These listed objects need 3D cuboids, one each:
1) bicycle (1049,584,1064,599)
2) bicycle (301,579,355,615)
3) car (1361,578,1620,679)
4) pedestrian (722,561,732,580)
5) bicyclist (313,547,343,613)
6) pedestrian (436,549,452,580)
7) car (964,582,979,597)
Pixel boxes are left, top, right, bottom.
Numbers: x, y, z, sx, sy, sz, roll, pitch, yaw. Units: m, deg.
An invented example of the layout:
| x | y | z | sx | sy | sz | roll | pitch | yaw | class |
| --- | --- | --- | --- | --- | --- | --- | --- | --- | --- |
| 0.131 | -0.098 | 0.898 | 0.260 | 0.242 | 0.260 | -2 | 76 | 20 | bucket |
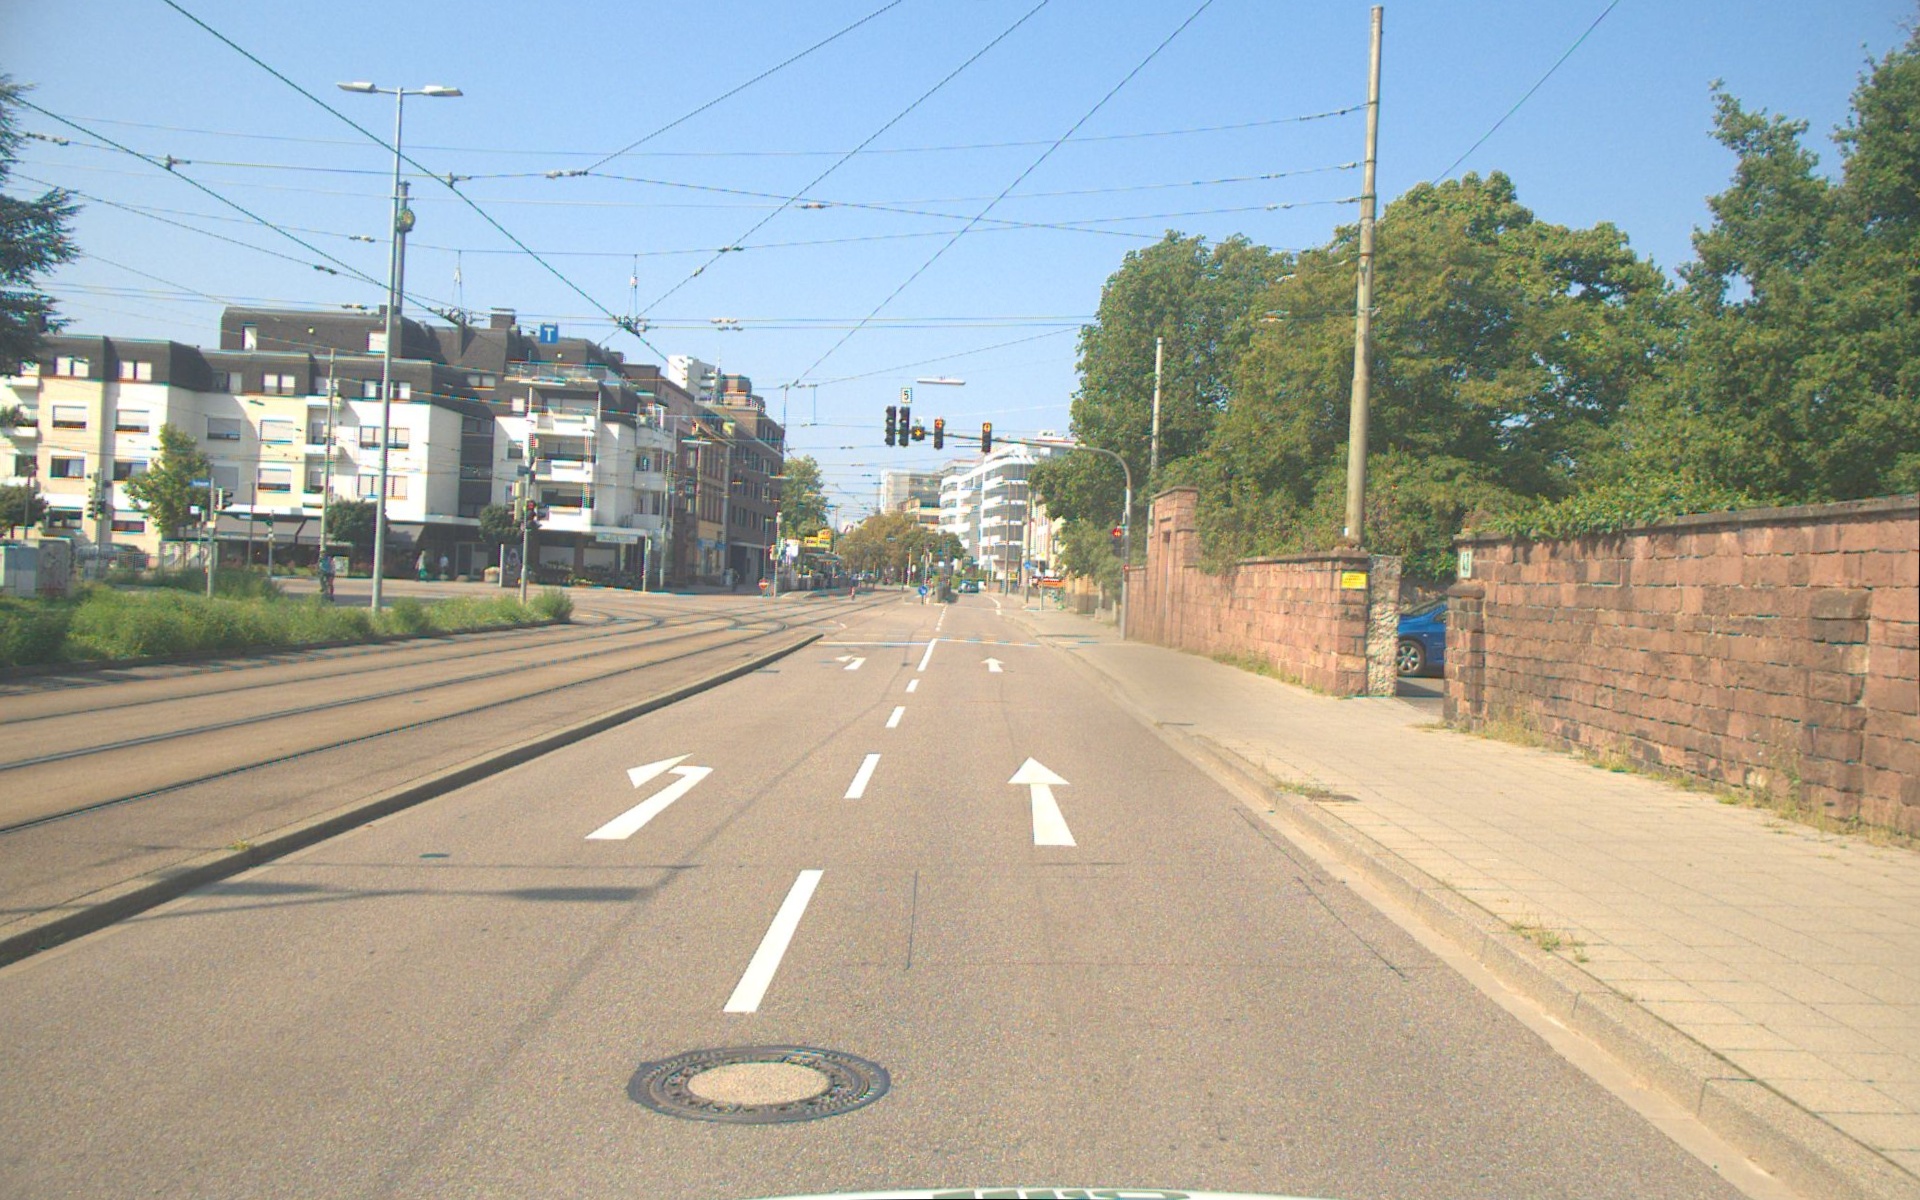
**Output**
| x | y | z | sx | sy | sz | roll | pitch | yaw | class |
| --- | --- | --- | --- | --- | --- | --- | --- | --- | --- |
| 7.830 | -0.717 | 134.888 | 0.717 | 1.152 | 2.836 | -1 | 1 | -7 | bicycle |
| -20.130 | -0.095 | 52.734 | 0.700 | 1.110 | 2.266 | 1 | 1 | 4 | bicycle |
| 9.208 | 0.471 | 28.908 | 3.887 | 1.489 | 1.777 | 3 | 1 | -1 | car |
| -19.846 | -2.518 | 140.612 | 0.473 | 1.587 | 0.888 | 3 | -1 | 11 | pedestrian |
| -20.139 | -0.637 | 52.711 | 0.624 | 2.100 | 0.775 | 1 | 0 | 4 | bicyclist |
| -30.327 | -2.091 | 97.198 | 0.665 | 1.771 | 0.698 | 1 | 0 | 1 | pedestrian |
| 1.551 | -1.413 | 224.328 | 1.970 | 1.891 | 4.001 | 1 | 1 | 1 | car |
